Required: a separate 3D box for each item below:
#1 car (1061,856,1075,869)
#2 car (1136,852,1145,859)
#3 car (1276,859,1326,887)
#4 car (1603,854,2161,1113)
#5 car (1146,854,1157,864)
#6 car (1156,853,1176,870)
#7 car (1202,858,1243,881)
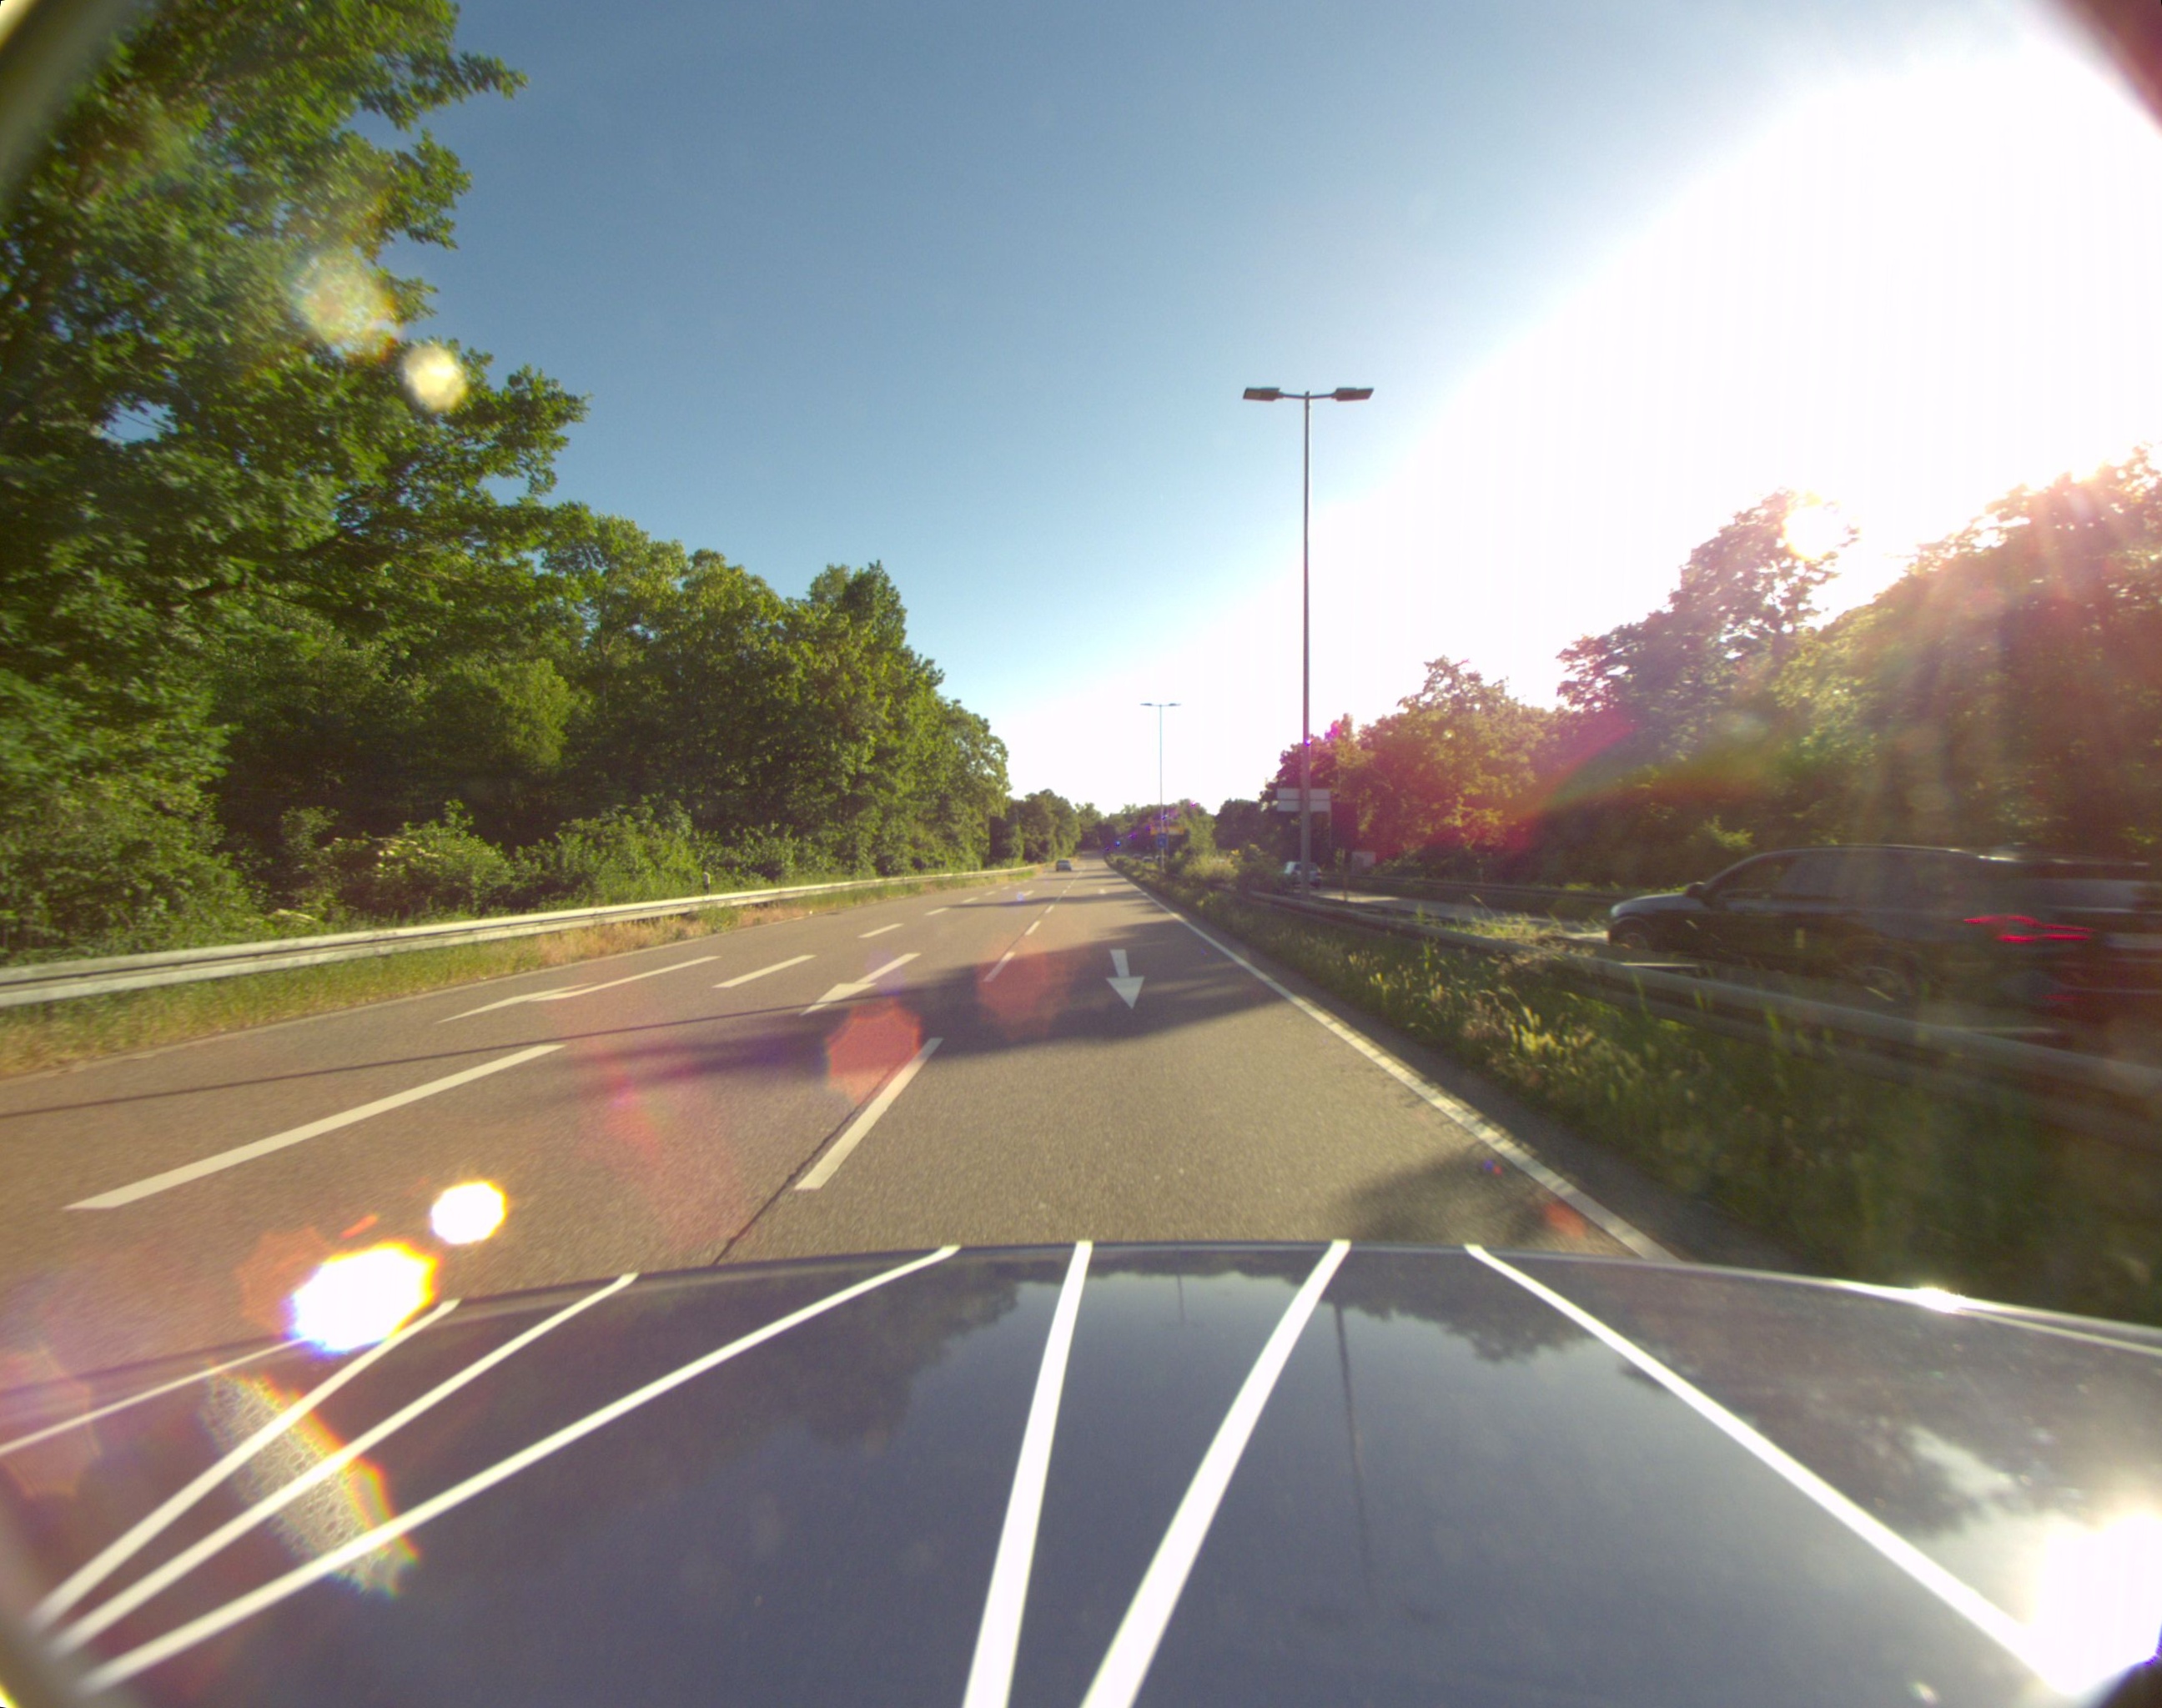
[{"bbox_3d":[-1.539,1.026,91.111,1.682,1.477,3.390,0,-1,0],"label":"car"},{"bbox_3d":[12.352,0.329,157.338,1.785,1.395,4.553,0,0,3],"label":"car"},{"bbox_3d":[11.933,1.000,41.457,1.755,1.441,3.715,2,0,3],"label":"car"},{"bbox_3d":[7.445,0.858,7.288,1.790,1.700,4.547,0,0,1],"label":"car"},{"bbox_3d":[10.894,0.815,117.648,1.622,1.521,4.609,0,0,3],"label":"car"},{"bbox_3d":[9.432,0.808,84.648,1.846,1.747,4.712,0,0,1],"label":"car"},{"bbox_3d":[9.121,0.977,49.143,1.756,1.441,4.432,0,0,-1],"label":"car"}]
